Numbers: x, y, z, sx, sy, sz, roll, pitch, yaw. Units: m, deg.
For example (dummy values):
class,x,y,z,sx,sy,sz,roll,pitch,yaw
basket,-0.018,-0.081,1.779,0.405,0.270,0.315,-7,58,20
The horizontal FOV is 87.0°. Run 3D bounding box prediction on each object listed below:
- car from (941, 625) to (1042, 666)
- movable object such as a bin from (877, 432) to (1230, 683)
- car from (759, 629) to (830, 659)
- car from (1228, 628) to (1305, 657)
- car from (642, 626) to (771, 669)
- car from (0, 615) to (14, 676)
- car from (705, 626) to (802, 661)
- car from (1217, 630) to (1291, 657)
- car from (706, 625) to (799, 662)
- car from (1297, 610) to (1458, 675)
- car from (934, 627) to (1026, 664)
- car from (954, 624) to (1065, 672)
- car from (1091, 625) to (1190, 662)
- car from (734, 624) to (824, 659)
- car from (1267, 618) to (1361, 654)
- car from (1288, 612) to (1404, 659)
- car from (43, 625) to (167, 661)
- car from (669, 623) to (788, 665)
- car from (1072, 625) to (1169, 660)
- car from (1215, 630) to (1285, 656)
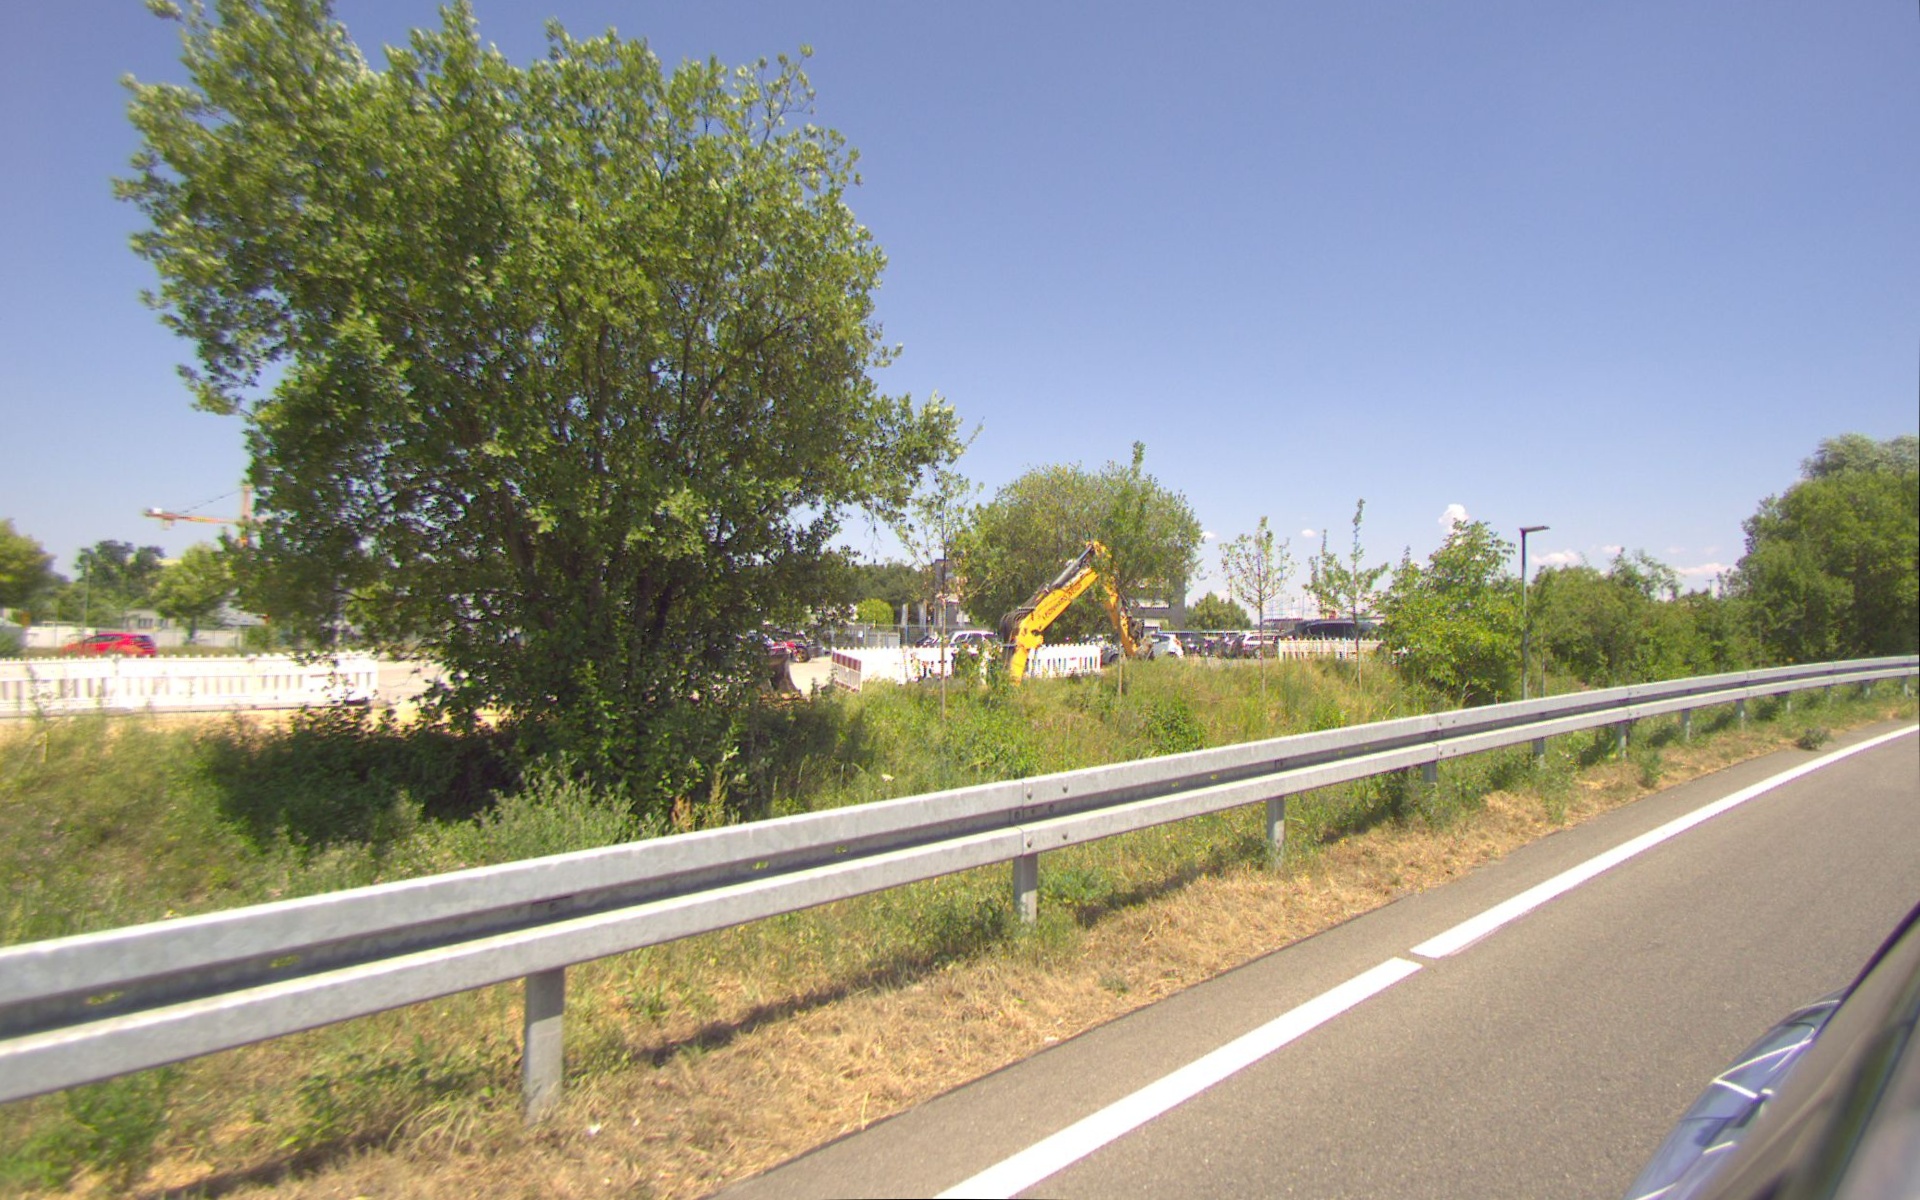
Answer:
class,x,y,z,sx,sy,sz,roll,pitch,yaw
car,1.308,1.920,43.229,4.073,1.655,2.002,0,0,-4
movable object such as a bin,2.653,-0.656,25.617,9.059,5.331,3.431,4,-4,-39
car,-10.883,2.888,66.760,4.340,1.949,1.946,0,-1,1
car,18.082,2.499,59.785,3.921,1.588,1.948,0,-1,-3
car,-9.762,1.813,39.273,4.525,1.527,2.000,0,0,0
car,-31.419,1.377,29.617,5.235,1.839,2.105,0,-1,-7
car,-10.207,2.151,50.220,4.436,1.658,1.946,0,-1,1
car,18.023,2.654,62.179,3.921,1.588,1.948,0,-1,-3
car,-9.681,2.028,47.459,3.925,1.658,1.946,0,-1,1
car,13.392,1.363,32.695,2.024,1.939,4.445,3,-4,-35
car,0.874,2.082,46.665,4.074,1.563,2.001,0,0,-3
car,1.810,1.782,38.021,3.920,1.694,2.002,0,0,-5
car,8.038,1.932,45.235,4.008,1.588,1.948,0,-1,-2
car,-9.349,2.142,52.563,4.340,1.706,1.946,0,-1,1
car,18.701,1.929,53.566,4.232,1.754,1.948,2,-3,-5
car,19.455,1.799,51.130,5.050,2.199,2.001,2,-3,-5
car,-42.566,2.123,50.471,4.456,1.707,2.101,-1,-1,2
car,-9.625,1.825,42.255,4.503,1.658,2.014,0,-1,1
car,7.520,1.982,47.798,4.260,1.576,1.947,0,-1,0
car,18.643,2.728,65.129,3.921,1.588,1.948,0,-1,-3
